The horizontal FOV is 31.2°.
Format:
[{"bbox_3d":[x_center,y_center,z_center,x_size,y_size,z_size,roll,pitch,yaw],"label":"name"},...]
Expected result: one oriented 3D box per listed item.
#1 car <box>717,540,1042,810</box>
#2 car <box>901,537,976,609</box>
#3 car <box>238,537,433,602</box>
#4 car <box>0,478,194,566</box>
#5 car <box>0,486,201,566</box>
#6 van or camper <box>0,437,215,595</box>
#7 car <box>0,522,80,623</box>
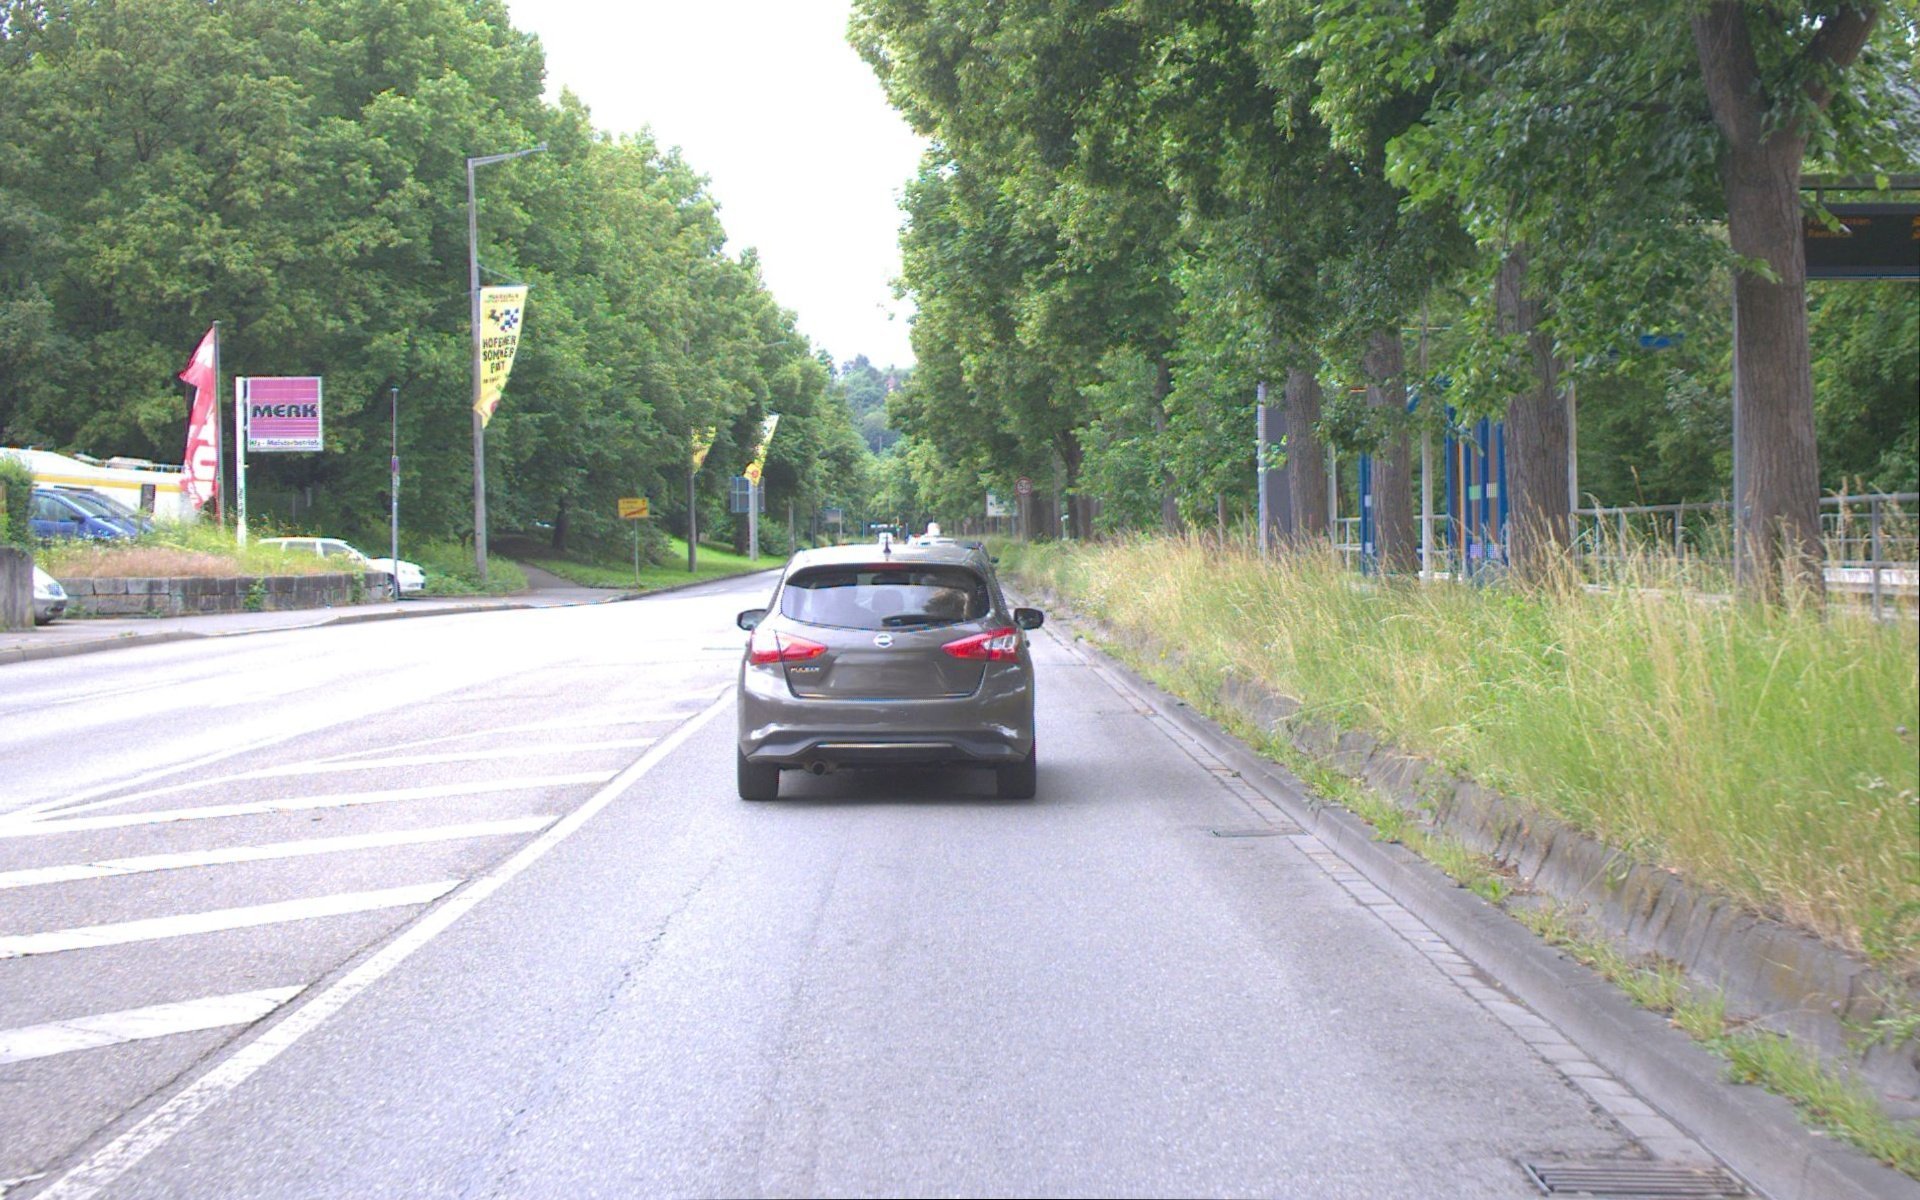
[{"bbox_3d":[-0.416,0.407,21.561,1.837,1.523,3.929,1,1,1],"label":"car"},{"bbox_3d":[-0.454,-0.597,75.306,1.503,1.523,3.671,1,1,1],"label":"car"},{"bbox_3d":[-15.006,-0.747,82.814,4.374,1.436,1.961,1,1,-2],"label":"car"},{"bbox_3d":[-16.199,-1.423,62.608,3.987,1.492,1.859,1,0,5],"label":"car"},{"bbox_3d":[-16.439,-1.385,64.479,3.987,1.406,1.533,1,0,5],"label":"car"},{"bbox_3d":[-21.896,-2.129,82.597,7.141,3.359,2.796,5,1,0],"label":"van or camper"},{"bbox_3d":[-16.844,-0.486,56.911,3.987,1.612,2.000,1,0,1],"label":"car"}]
